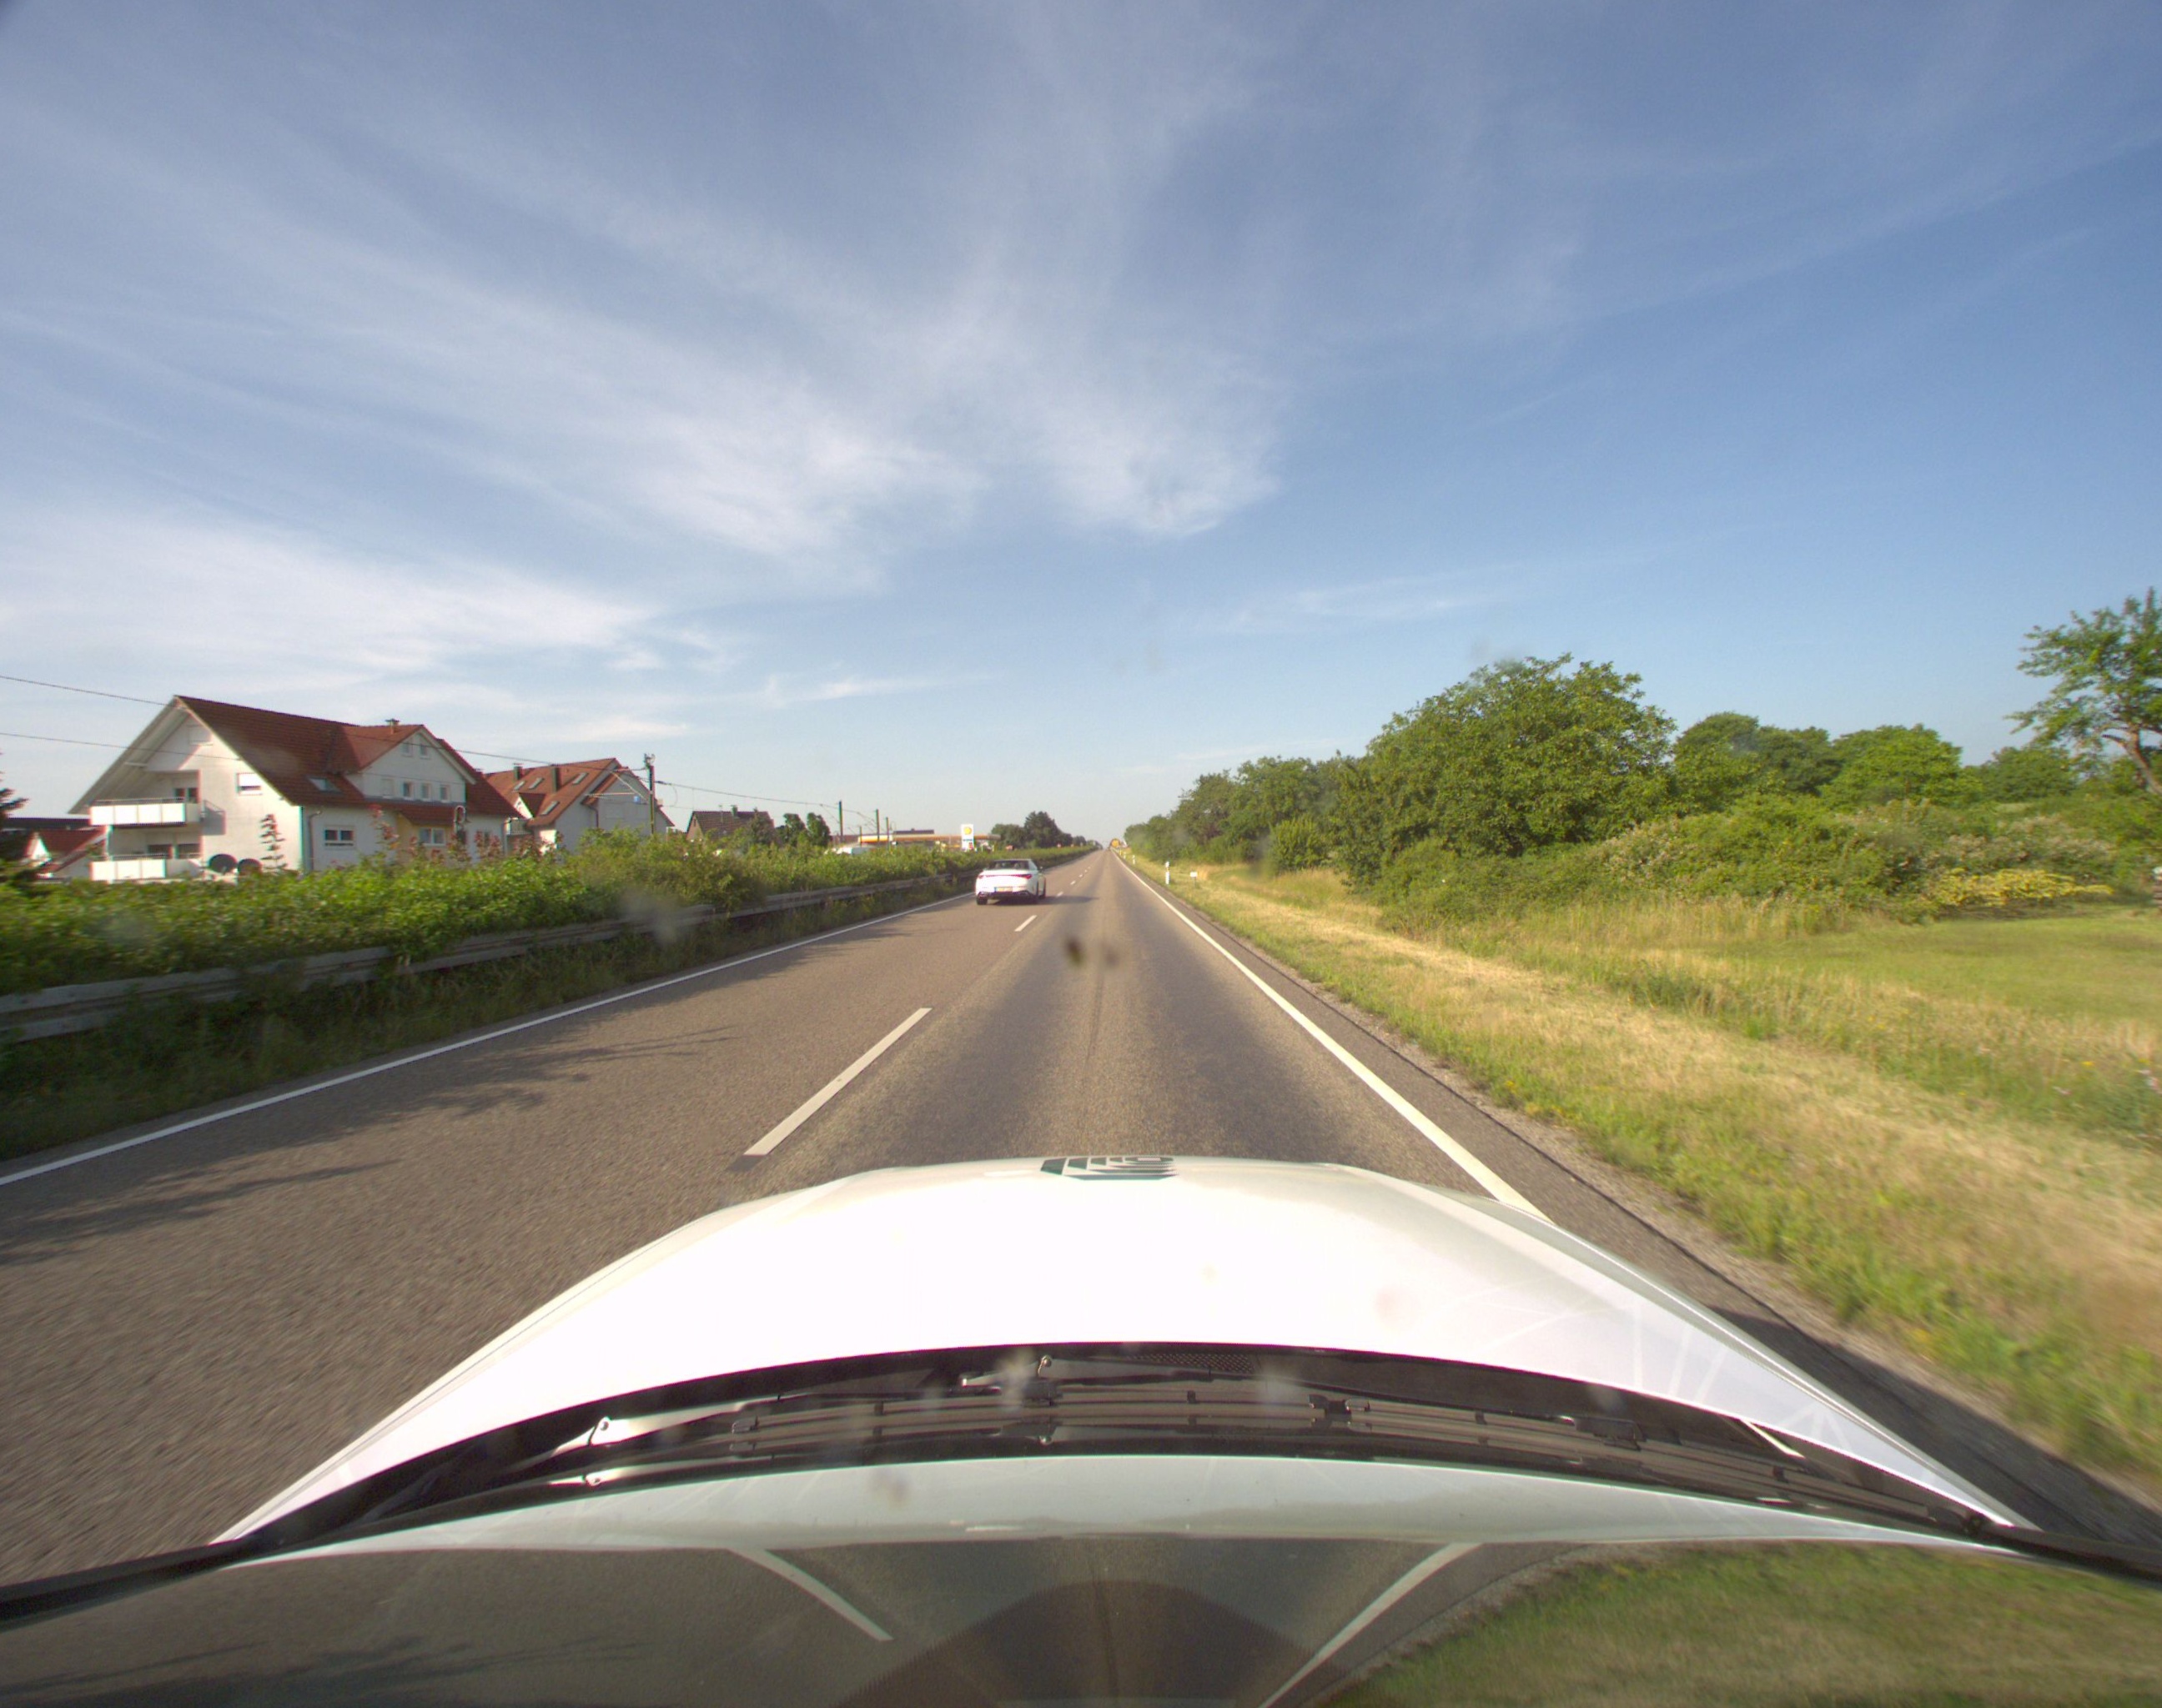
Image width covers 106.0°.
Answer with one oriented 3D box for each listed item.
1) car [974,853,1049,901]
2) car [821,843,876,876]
[{"bbox_3d":[-2.083,0.661,25.850,1.764,1.337,4.953,0,0,2],"label":"car"},{"bbox_3d":[-14.755,0.318,51.962,1.986,2.013,4.873,0,0,1],"label":"car"}]
